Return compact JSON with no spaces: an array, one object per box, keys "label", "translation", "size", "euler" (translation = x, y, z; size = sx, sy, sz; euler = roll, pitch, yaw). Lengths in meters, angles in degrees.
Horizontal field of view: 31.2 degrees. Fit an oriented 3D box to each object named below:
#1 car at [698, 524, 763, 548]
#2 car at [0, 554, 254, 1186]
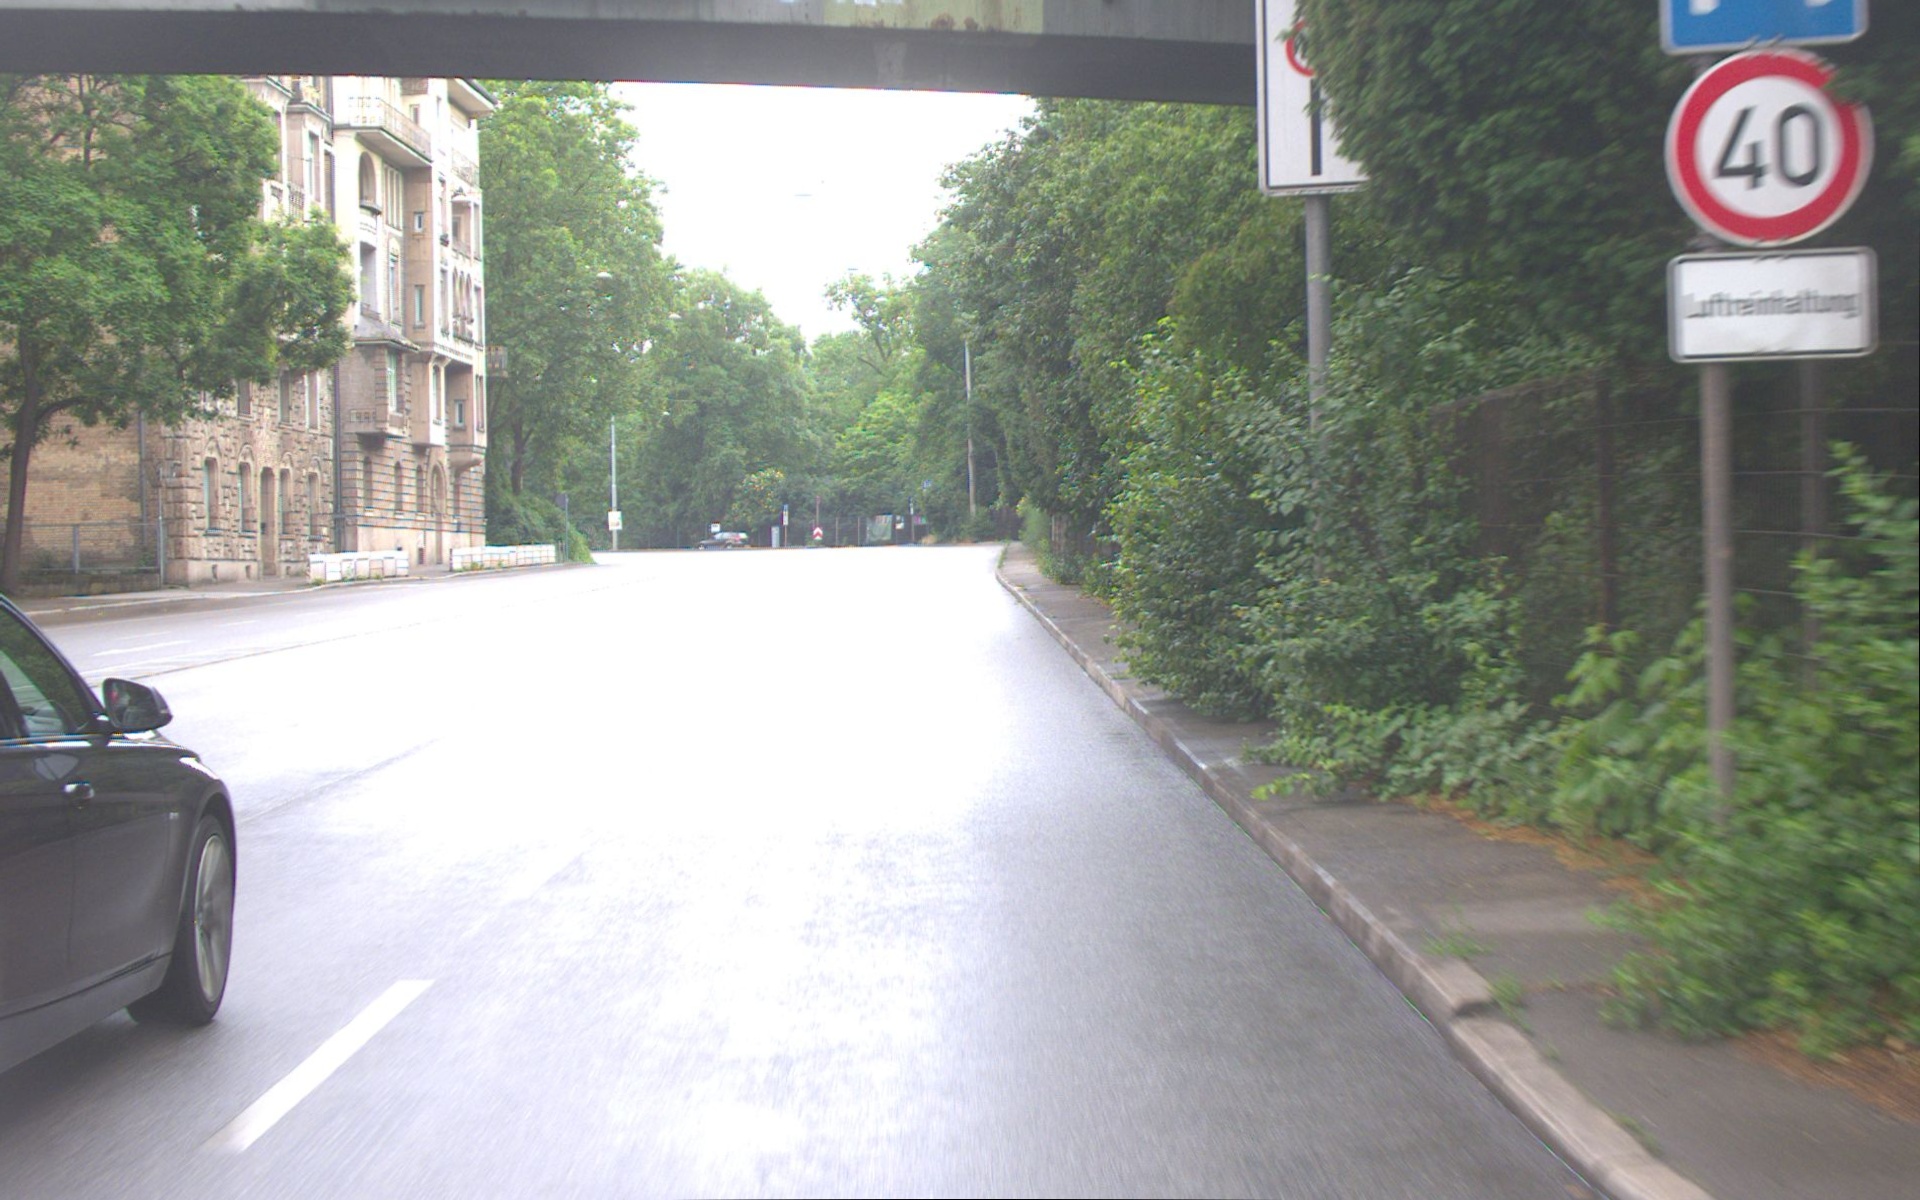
[{"label":"car","translation":[-14.780,-4.099,221.366],"size":[4.368,1.422,1.688],"euler":[0,-1,44]},{"label":"car","translation":[-3.092,0.616,8.576],"size":[1.757,1.427,4.413],"euler":[1,1,0]}]
